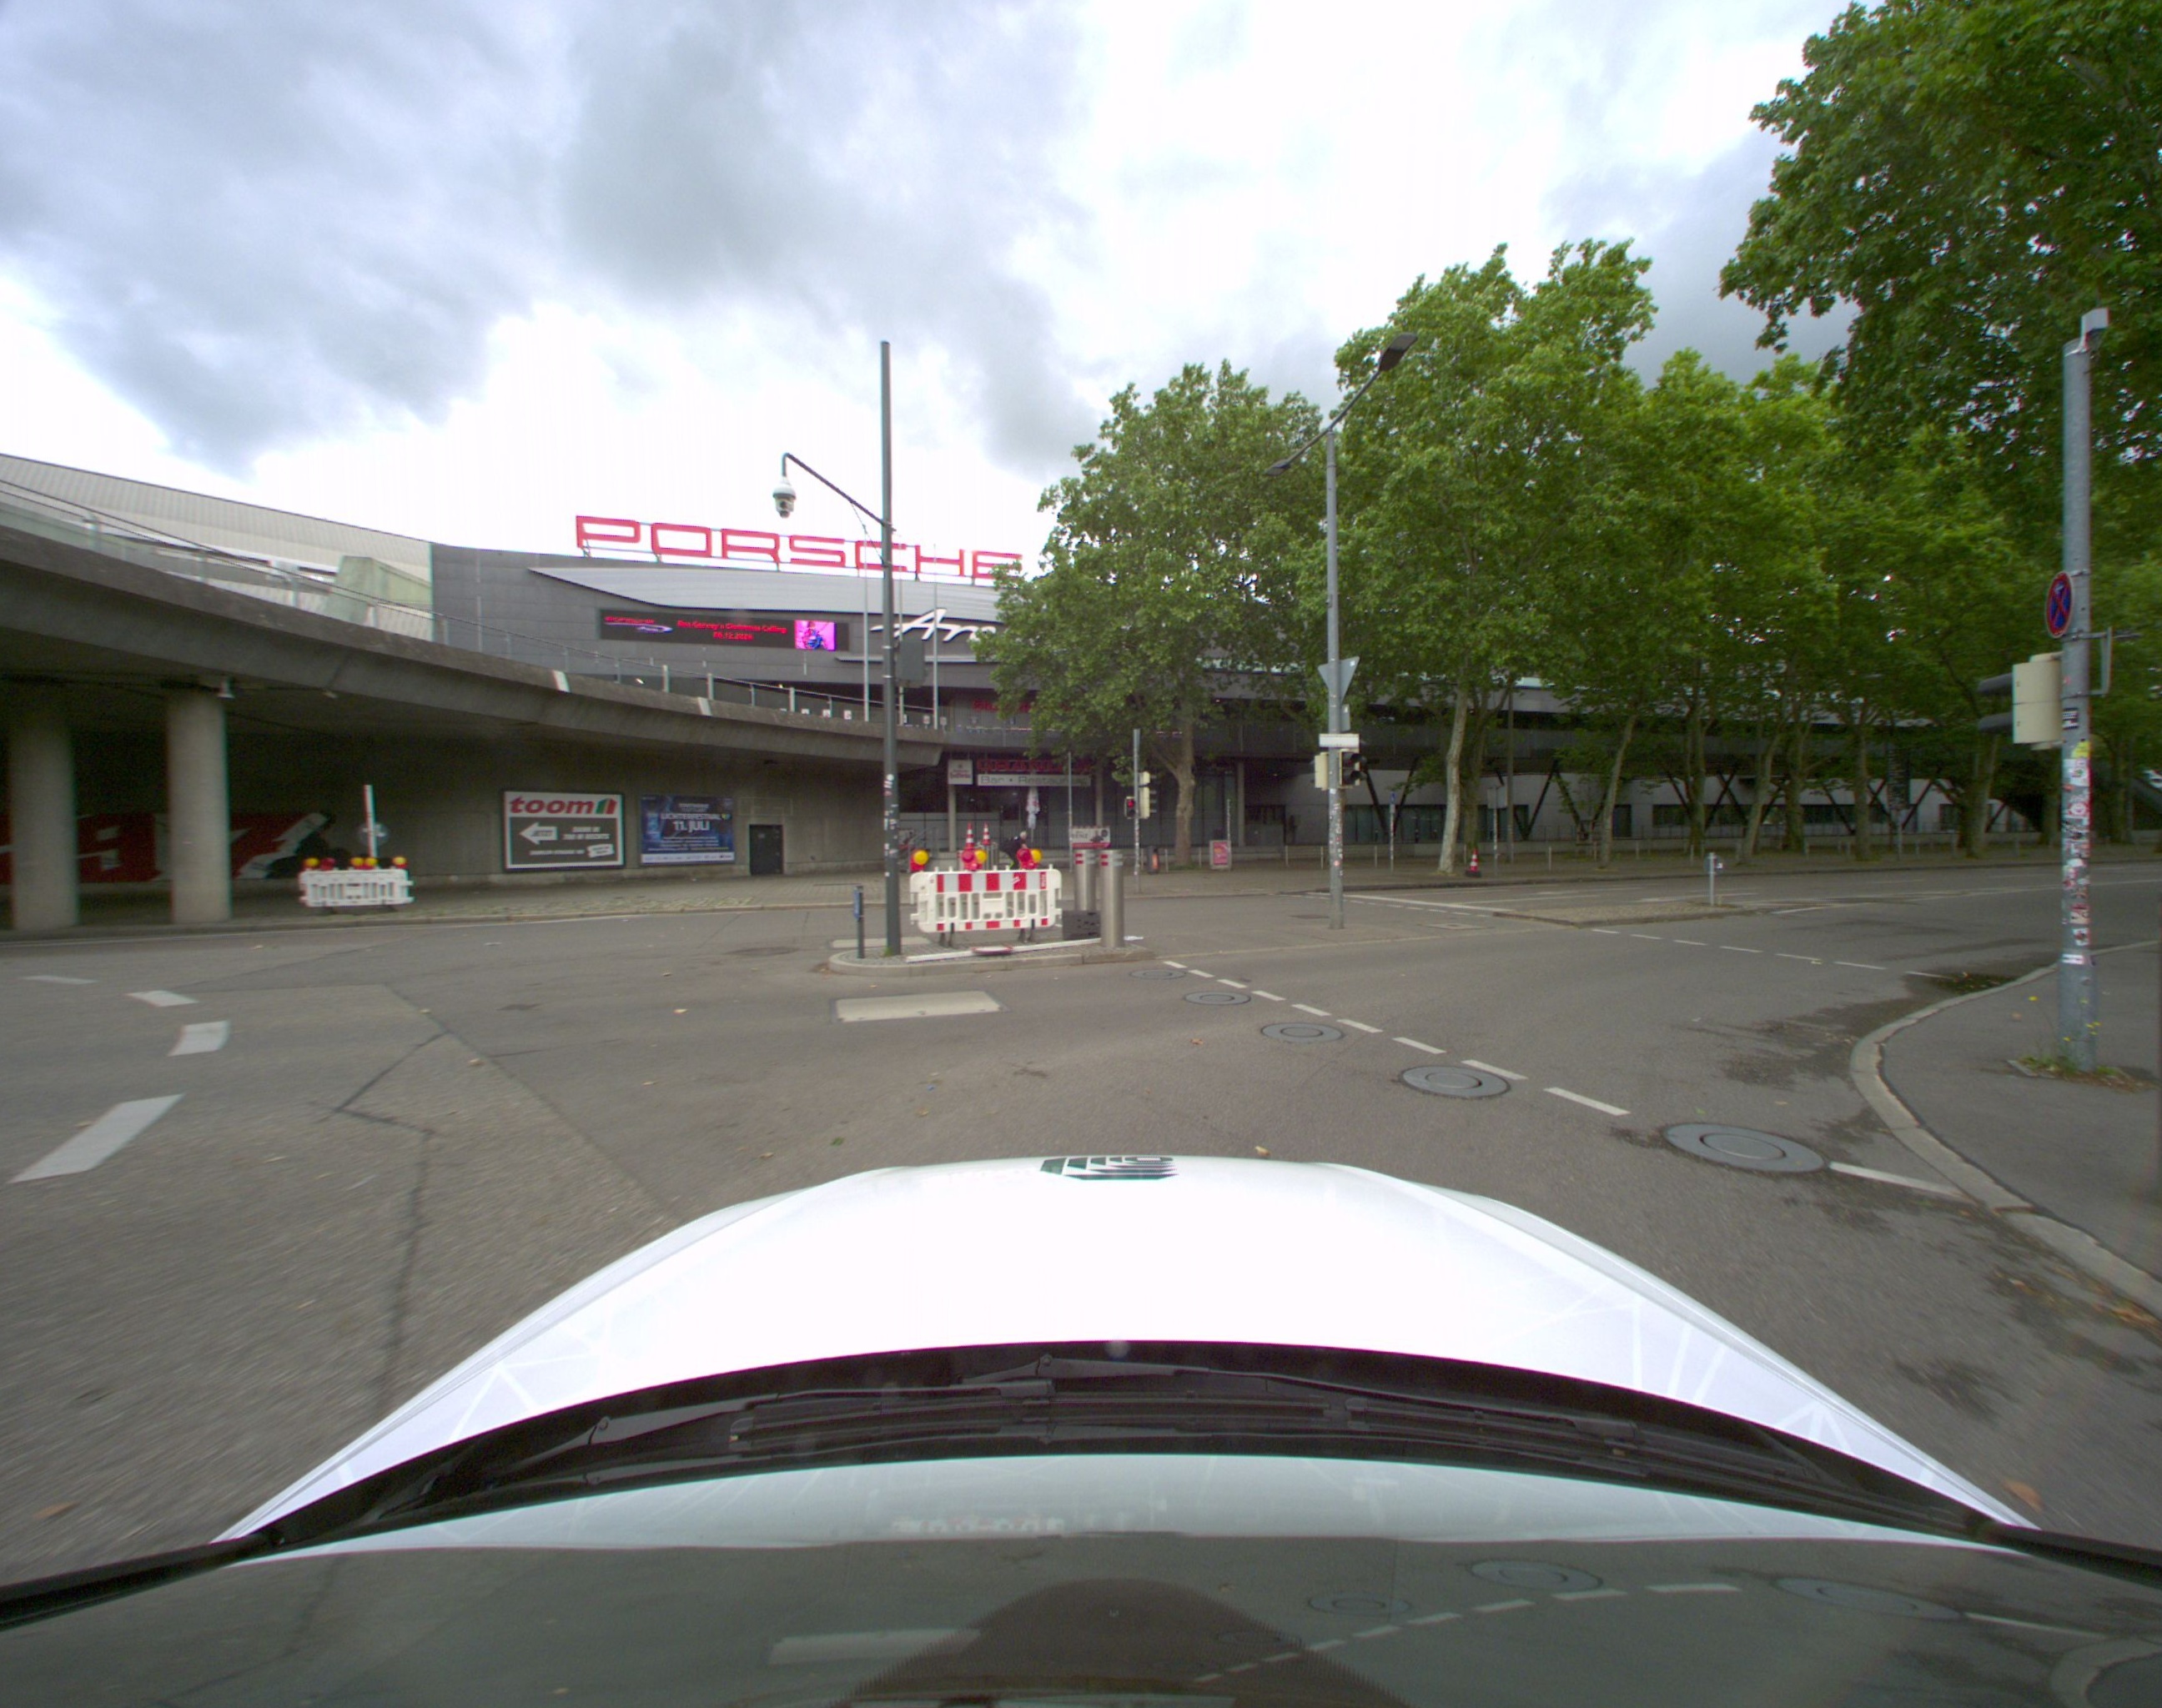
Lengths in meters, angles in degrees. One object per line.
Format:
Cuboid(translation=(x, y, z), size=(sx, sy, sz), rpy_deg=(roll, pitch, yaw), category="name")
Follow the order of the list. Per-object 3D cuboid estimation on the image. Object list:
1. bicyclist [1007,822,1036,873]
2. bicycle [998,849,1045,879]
Cuboid(translation=(-2.030, -0.209, 27.706), size=(0.854, 1.697, 0.762), rpy_deg=(1, -1, -18), category="bicyclist")
Cuboid(translation=(-2.027, 0.342, 27.696), size=(1.537, 1.013, 0.514), rpy_deg=(1, -1, -18), category="bicycle")
